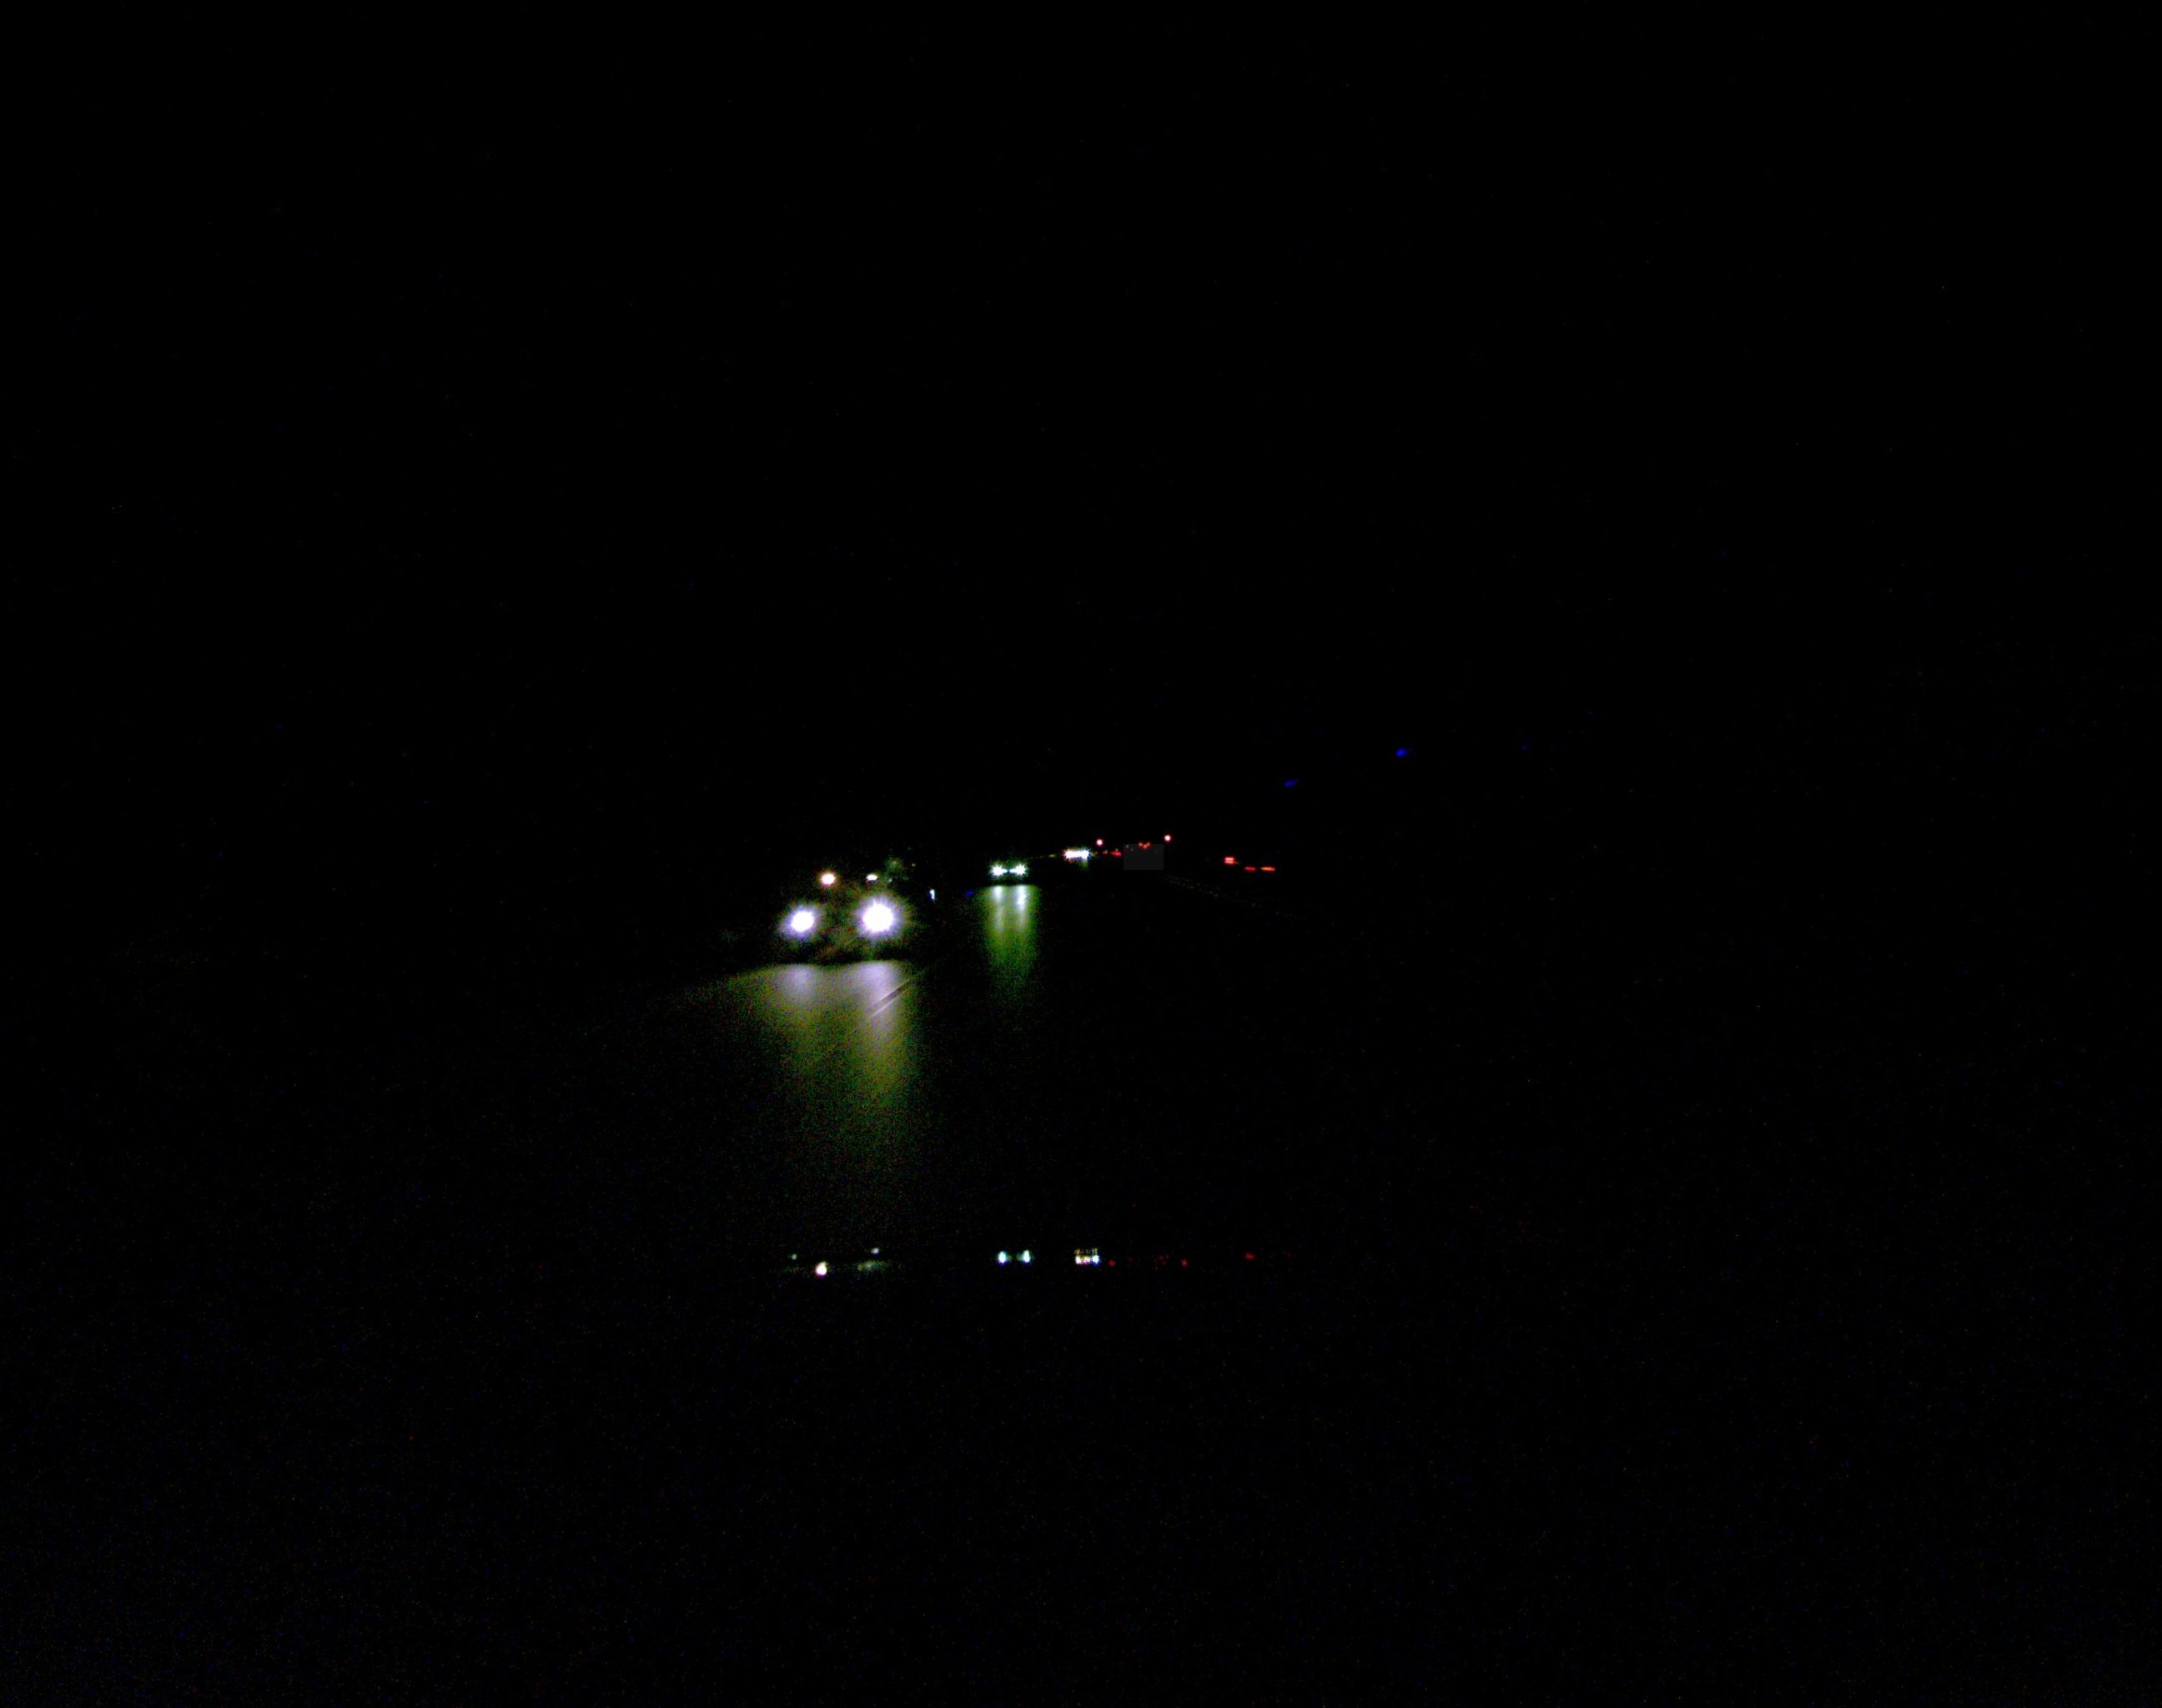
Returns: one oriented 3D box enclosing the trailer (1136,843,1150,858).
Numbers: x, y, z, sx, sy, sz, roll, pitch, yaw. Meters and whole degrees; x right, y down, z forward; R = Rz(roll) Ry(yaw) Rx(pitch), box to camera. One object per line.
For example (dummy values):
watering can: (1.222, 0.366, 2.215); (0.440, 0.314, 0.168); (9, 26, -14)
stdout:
trailer: (17.829, -1.053, 218.603); (2.867, 4.152, 13.902); (1, 1, 0)

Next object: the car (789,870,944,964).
car: (-3.850, 1.062, 14.400); (1.690, 1.405, 4.225); (-1, 0, 0)

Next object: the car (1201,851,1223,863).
car: (16.747, 0.407, 97.300); (1.999, 1.476, 4.800); (0, 0, 0)

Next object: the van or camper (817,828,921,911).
van or camper: (-7.931, 0.526, 29.285); (2.213, 2.755, 6.802); (-2, 0, -2)

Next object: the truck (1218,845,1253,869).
truck: (13.050, 0.238, 64.407); (1.998, 1.931, 5.240); (0, 1, 1)

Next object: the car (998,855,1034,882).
car: (-3.920, 0.850, 46.360); (1.795, 1.532, 4.225); (-2, 0, 0)

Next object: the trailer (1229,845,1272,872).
trailer: (12.945, 0.298, 58.497); (1.998, 1.928, 6.622); (0, 0, 1)

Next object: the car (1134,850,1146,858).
car: (11.039, -0.079, 142.311); (1.998, 1.453, 4.900); (1, 0, 1)

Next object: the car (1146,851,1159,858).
car: (14.422, 0.089, 153.138); (1.999, 1.386, 5.705); (1, 0, 0)
